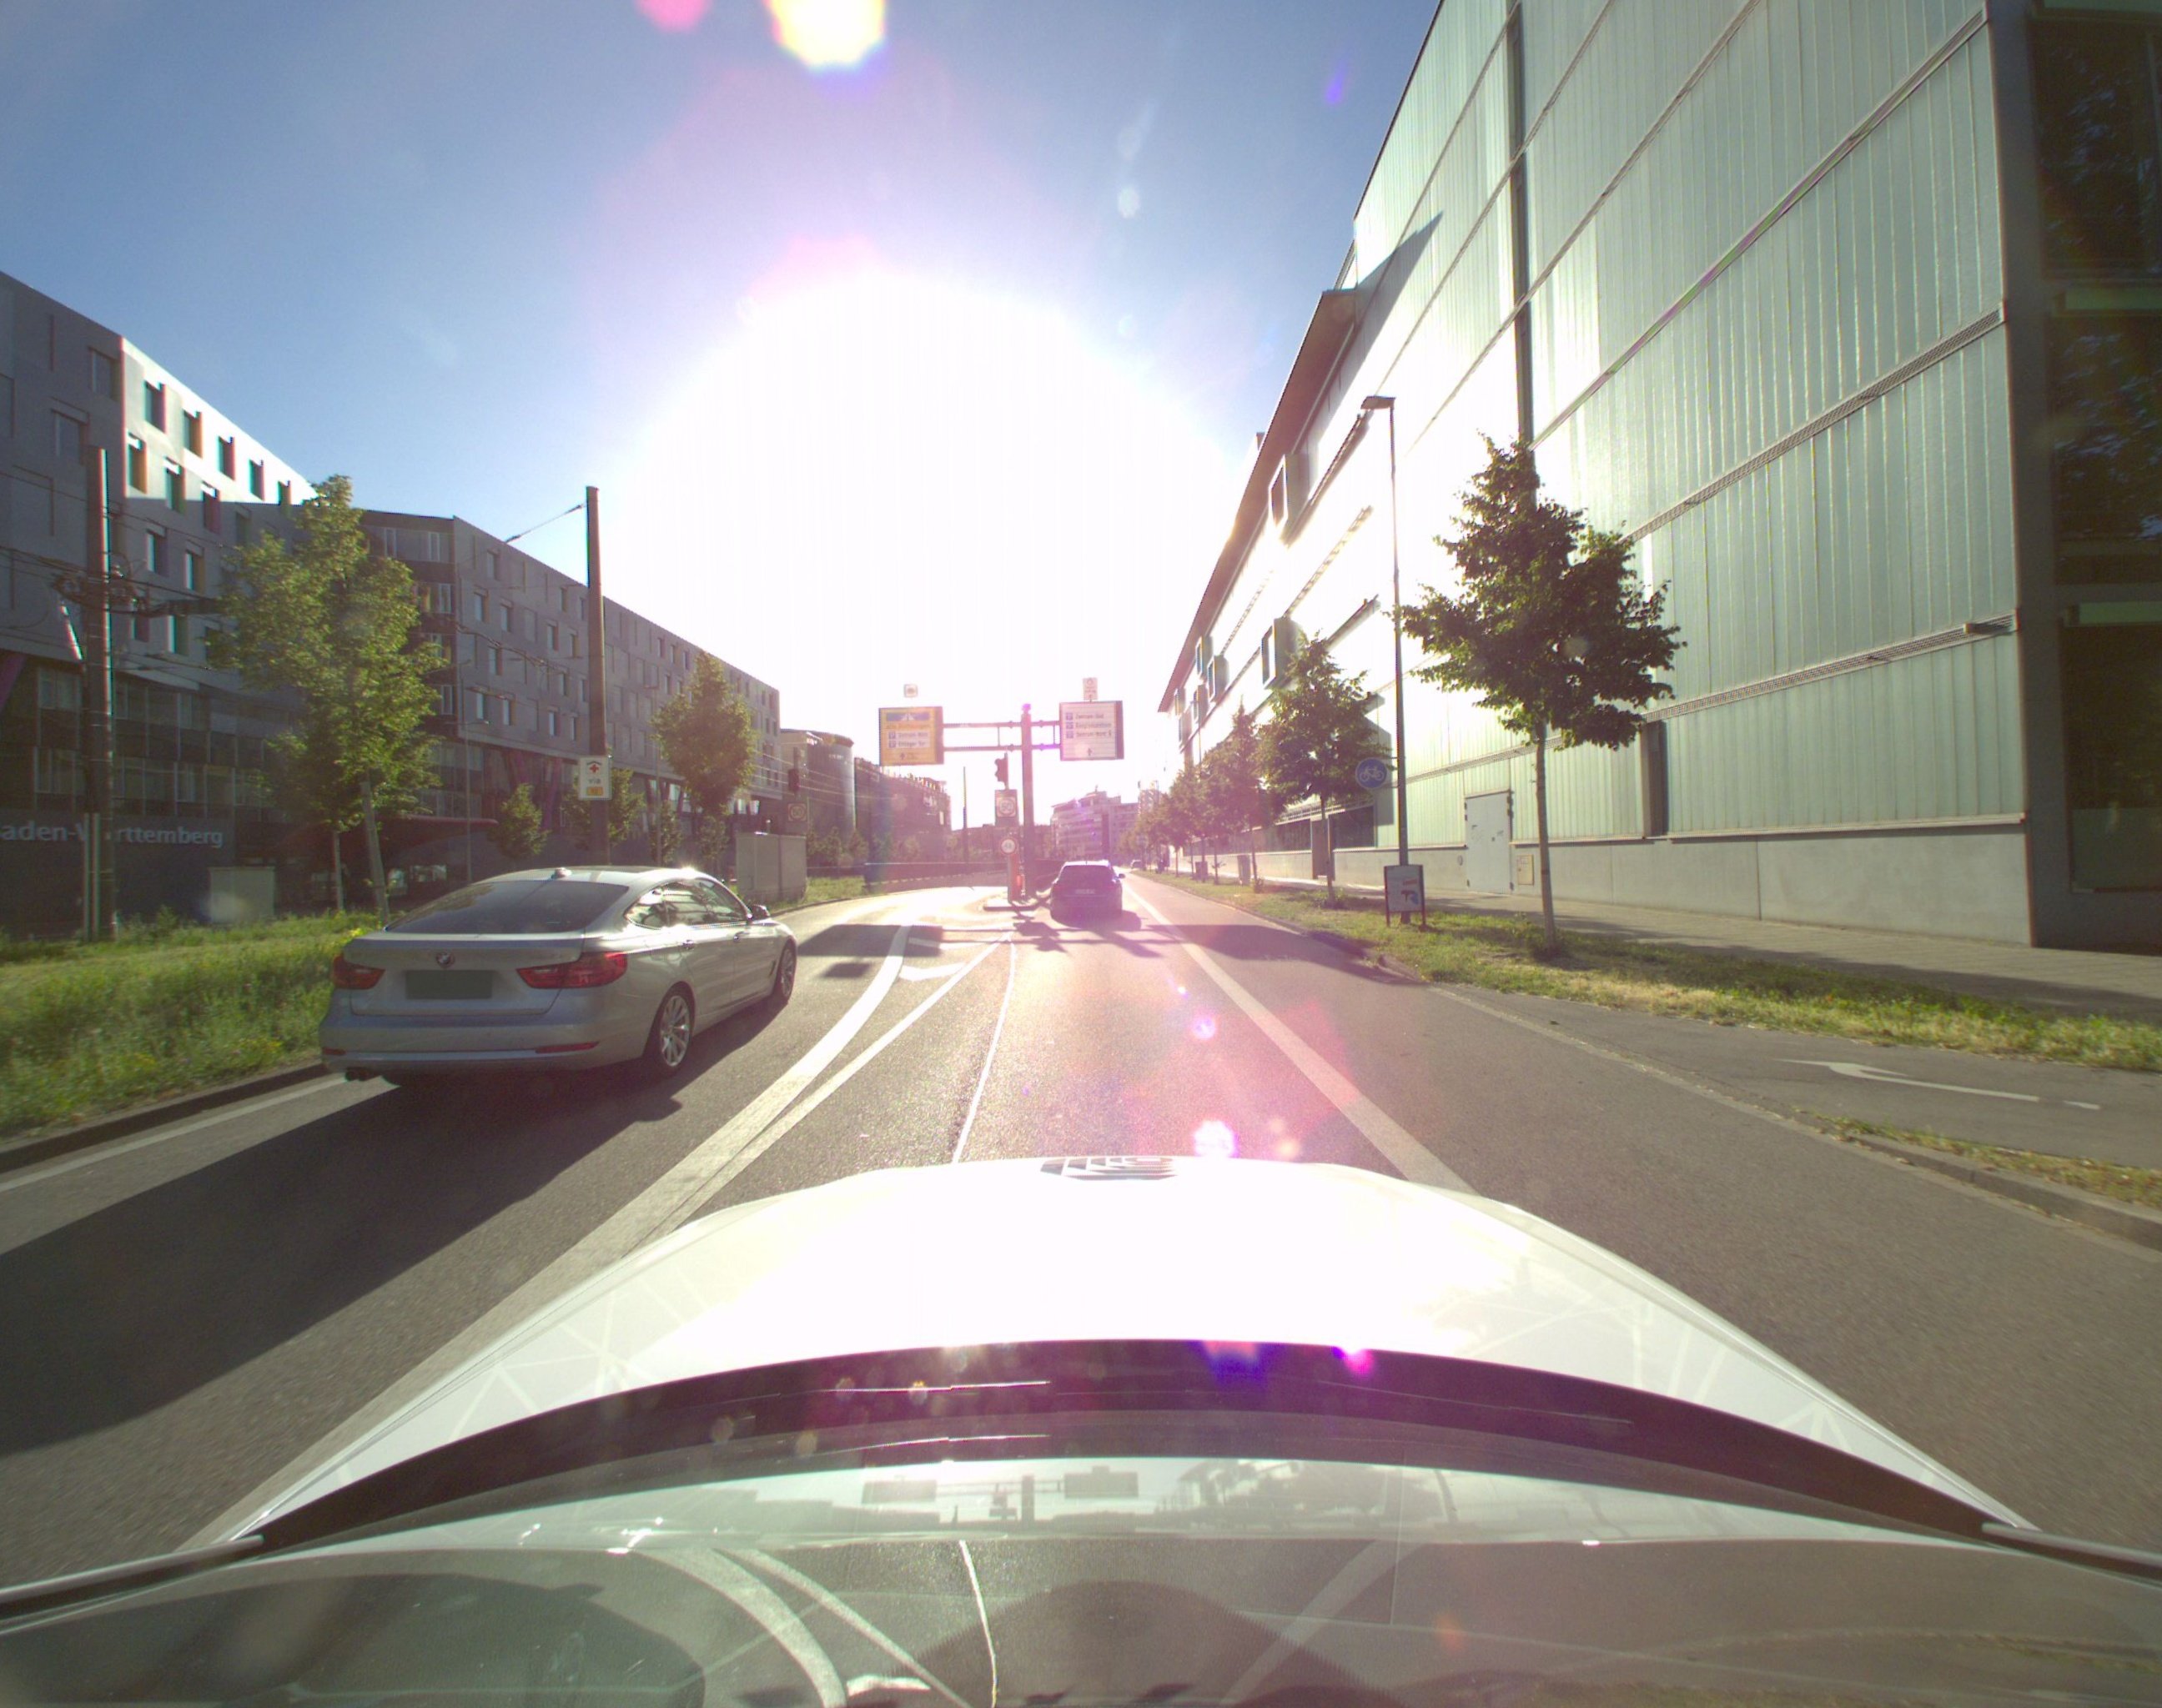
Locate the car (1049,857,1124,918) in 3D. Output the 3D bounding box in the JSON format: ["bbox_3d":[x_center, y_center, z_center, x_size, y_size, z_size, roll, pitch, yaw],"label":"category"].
[{"bbox_3d":[0.241,0.845,22.298,1.805,1.427,4.692,-2,-1,3],"label":"car"}]

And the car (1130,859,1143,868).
[{"bbox_3d":[9.402,1.620,138.316,1.846,1.481,4.853,-3,0,0],"label":"car"}]

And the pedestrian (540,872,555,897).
[{"bbox_3d":[-43.740,2.488,66.752,0.733,2.014,0.690,-2,-1,1],"label":"pedestrian"}]

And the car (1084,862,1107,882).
[{"bbox_3d":[1.216,1.441,66.895,1.846,1.546,4.001,0,0,1],"label":"car"}]

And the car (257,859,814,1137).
[{"bbox_3d":[-3.846,0.811,7.035,1.795,1.527,4.902,0,0,-5],"label":"car"}]
